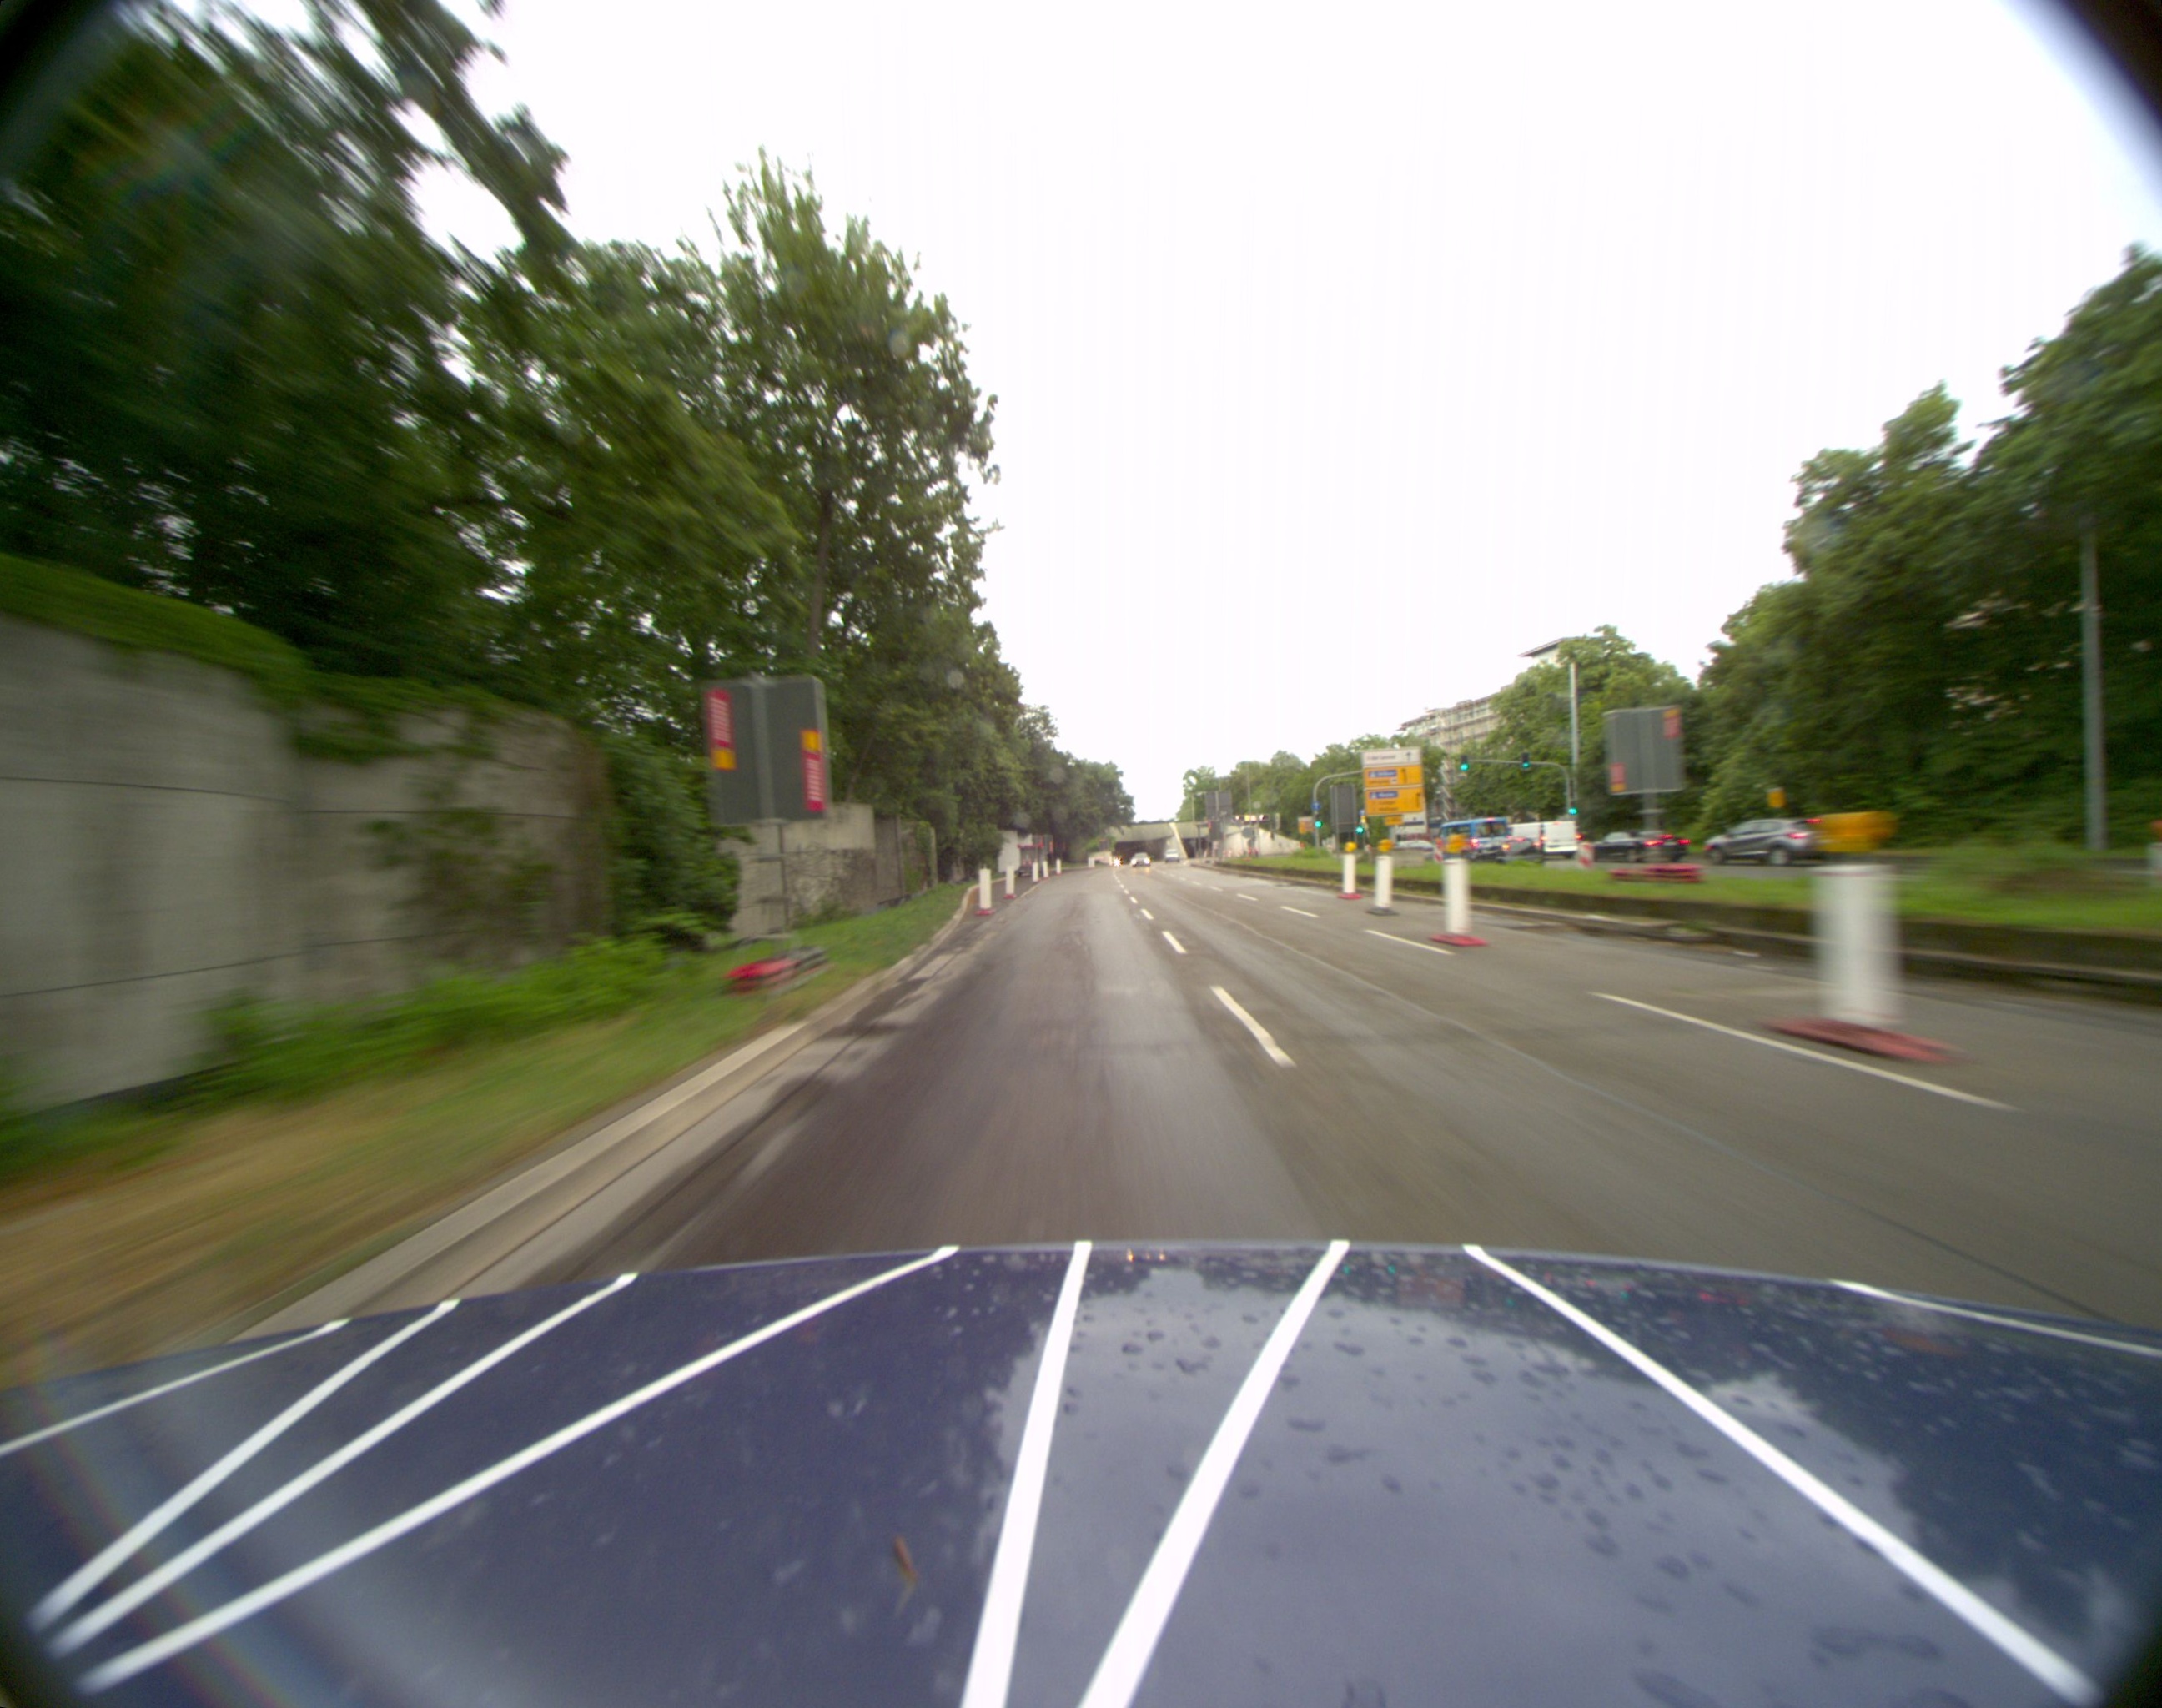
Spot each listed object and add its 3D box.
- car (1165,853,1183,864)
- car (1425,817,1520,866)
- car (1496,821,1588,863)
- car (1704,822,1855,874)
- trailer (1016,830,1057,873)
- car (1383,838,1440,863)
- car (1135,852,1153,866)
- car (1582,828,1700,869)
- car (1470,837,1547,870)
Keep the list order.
[{"bbox_3d":[11.589,0.542,94.733,1.698,1.300,3.824,-3,0,-1],"label":"car"},{"bbox_3d":[21.312,-0.619,41.756,2.200,2.376,6.246,-4,-1,3],"label":"car"},{"bbox_3d":[24.577,-0.589,40.780,2.039,1.962,4.992,-4,-1,3],"label":"car"},{"bbox_3d":[23.189,-0.219,25.430,1.675,1.514,3.790,-3,1,4],"label":"car"},{"bbox_3d":[-3.808,-0.246,66.402,2.312,3.568,5.963,-2,1,8],"label":"trailer"},{"bbox_3d":[17.796,-0.220,41.172,1.552,1.193,4.648,-3,0,7],"label":"car"},{"bbox_3d":[6.809,0.494,81.624,1.697,1.393,3.827,-3,0,7],"label":"car"},{"bbox_3d":[23.776,-0.253,32.491,1.797,1.514,4.635,-3,0,4],"label":"car"},{"bbox_3d":[17.469,-0.023,31.174,1.433,1.193,3.300,-3,0,4],"label":"car"}]
